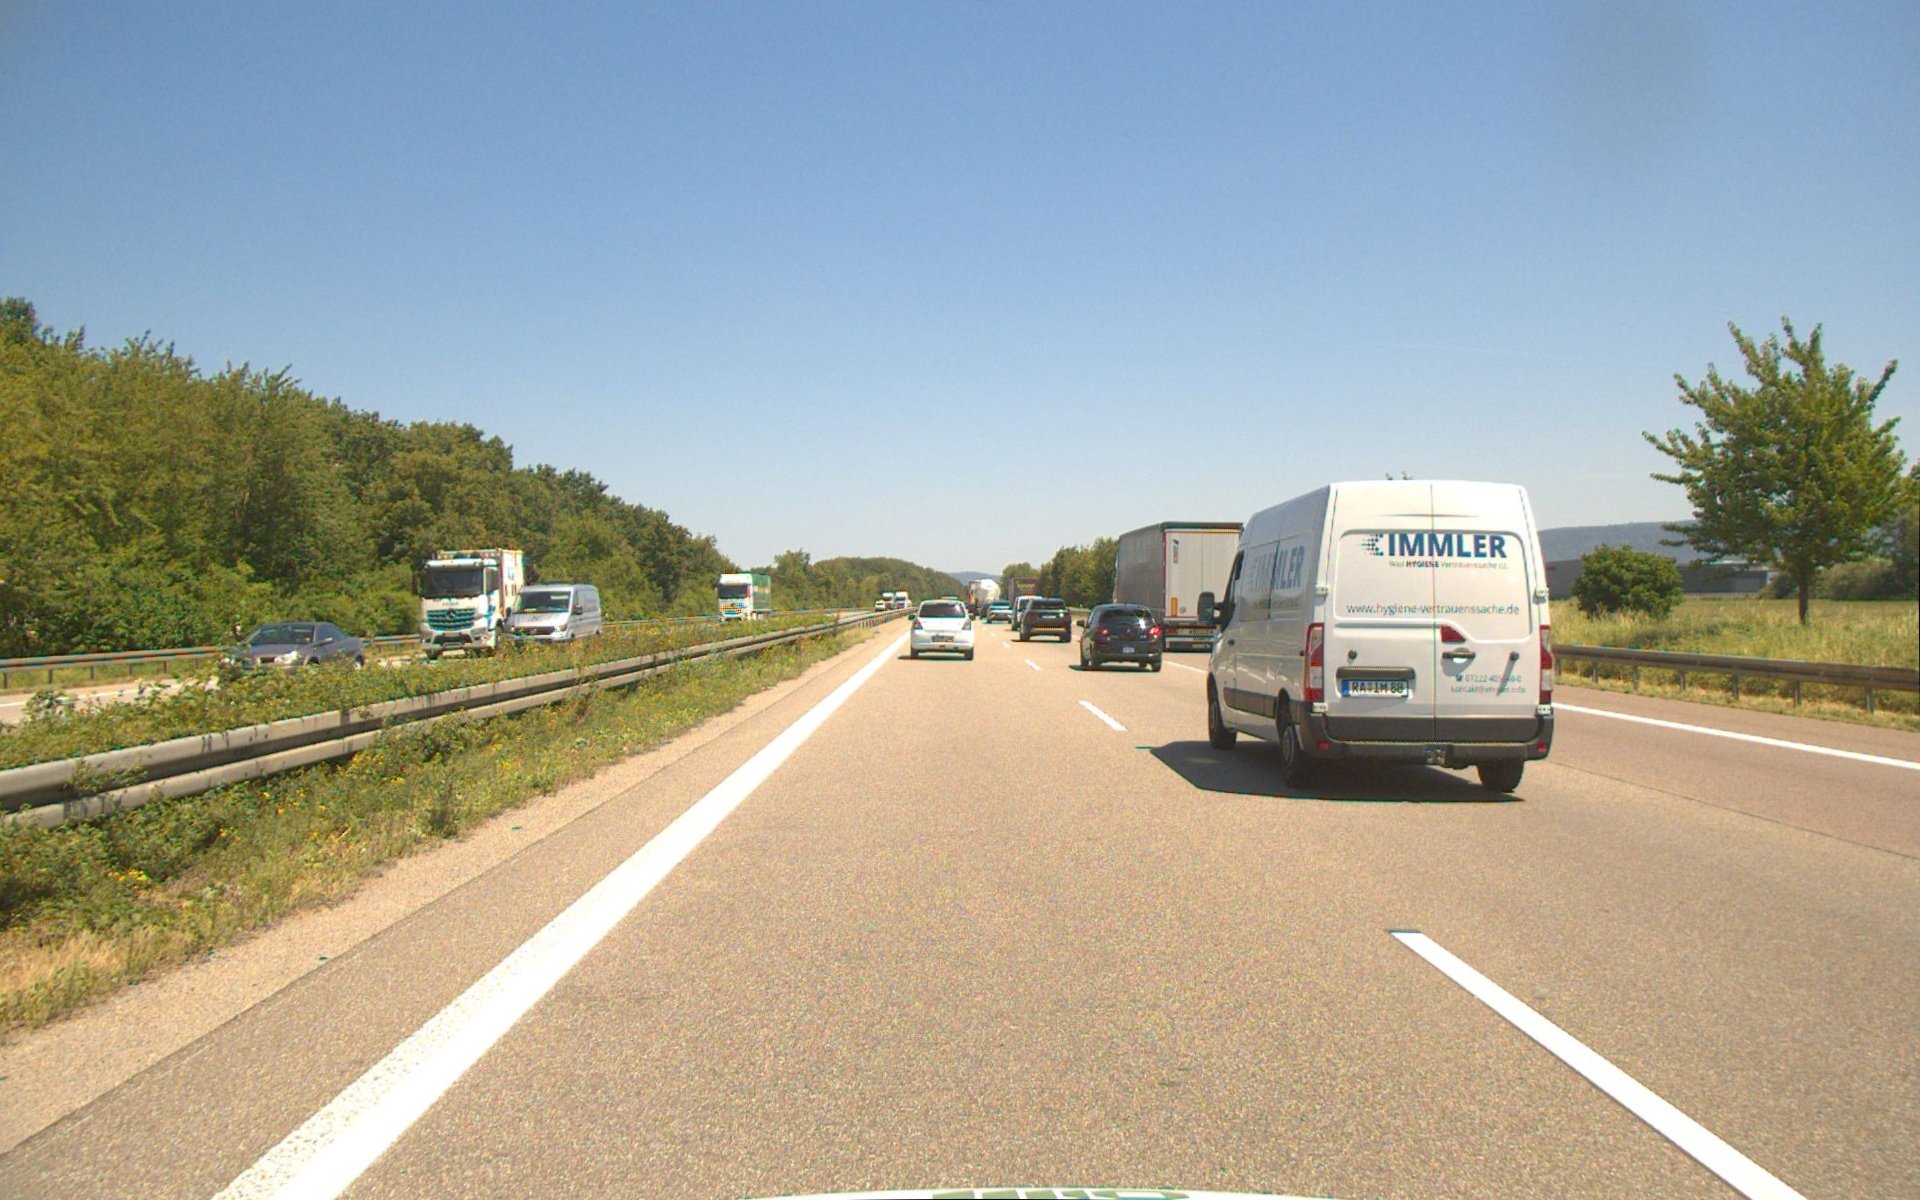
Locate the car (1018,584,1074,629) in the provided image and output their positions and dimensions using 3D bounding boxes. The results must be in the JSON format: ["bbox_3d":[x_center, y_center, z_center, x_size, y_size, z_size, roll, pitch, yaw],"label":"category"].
[{"bbox_3d":[3.290,0.218,64.058,1.820,1.681,3.998,1,0,-2],"label":"car"}]

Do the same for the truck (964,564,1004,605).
[{"bbox_3d":[2.517,-1.700,182.793,3.193,4.282,16.833,1,0,-3],"label":"truck"}]

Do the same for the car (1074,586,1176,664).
[{"bbox_3d":[3.777,0.536,38.423,1.820,1.681,3.998,1,0,-2],"label":"car"}]

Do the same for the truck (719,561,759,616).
[{"bbox_3d":[-17.283,-0.937,129.549,2.367,4.165,5.880,1,0,-1],"label":"truck"}]

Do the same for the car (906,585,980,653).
[{"bbox_3d":[-0.500,0.467,44.121,1.820,1.681,3.998,1,0,-2],"label":"car"}]

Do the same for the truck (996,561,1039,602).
[{"bbox_3d":[6.293,-2.008,184.533,3.193,4.282,16.833,1,0,-3],"label":"truck"}]

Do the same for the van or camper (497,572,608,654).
[{"bbox_3d":[-12.844,0.366,52.582,2.016,2.394,6.075,-2,1,-1],"label":"van or camper"}]

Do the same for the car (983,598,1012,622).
[{"bbox_3d":[2.674,0.706,117.986,1.820,1.681,3.998,1,0,-2],"label":"car"}]

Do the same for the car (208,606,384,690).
[{"bbox_3d":[-13.326,0.906,33.496,1.820,1.464,4.596,-2,0,-2],"label":"car"}]

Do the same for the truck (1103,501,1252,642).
[{"bbox_3d":[7.493,-0.945,59.802,3.016,4.282,16.842,1,0,0],"label":"truck"}]

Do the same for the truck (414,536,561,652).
[{"bbox_3d":[-17.035,-0.255,60.373,2.552,3.827,9.864,-2,1,-1],"label":"truck"}]

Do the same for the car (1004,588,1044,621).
[{"bbox_3d":[3.391,0.211,88.776,1.820,1.681,3.998,1,0,-2],"label":"car"}]

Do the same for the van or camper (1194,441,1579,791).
[{"bbox_3d":[3.690,0.104,15.639,2.016,2.668,5.984,0,0,-1],"label":"van or camper"}]

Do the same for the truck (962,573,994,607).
[{"bbox_3d":[2.355,-1.318,221.288,3.193,4.282,16.833,1,0,-3],"label":"truck"}]
